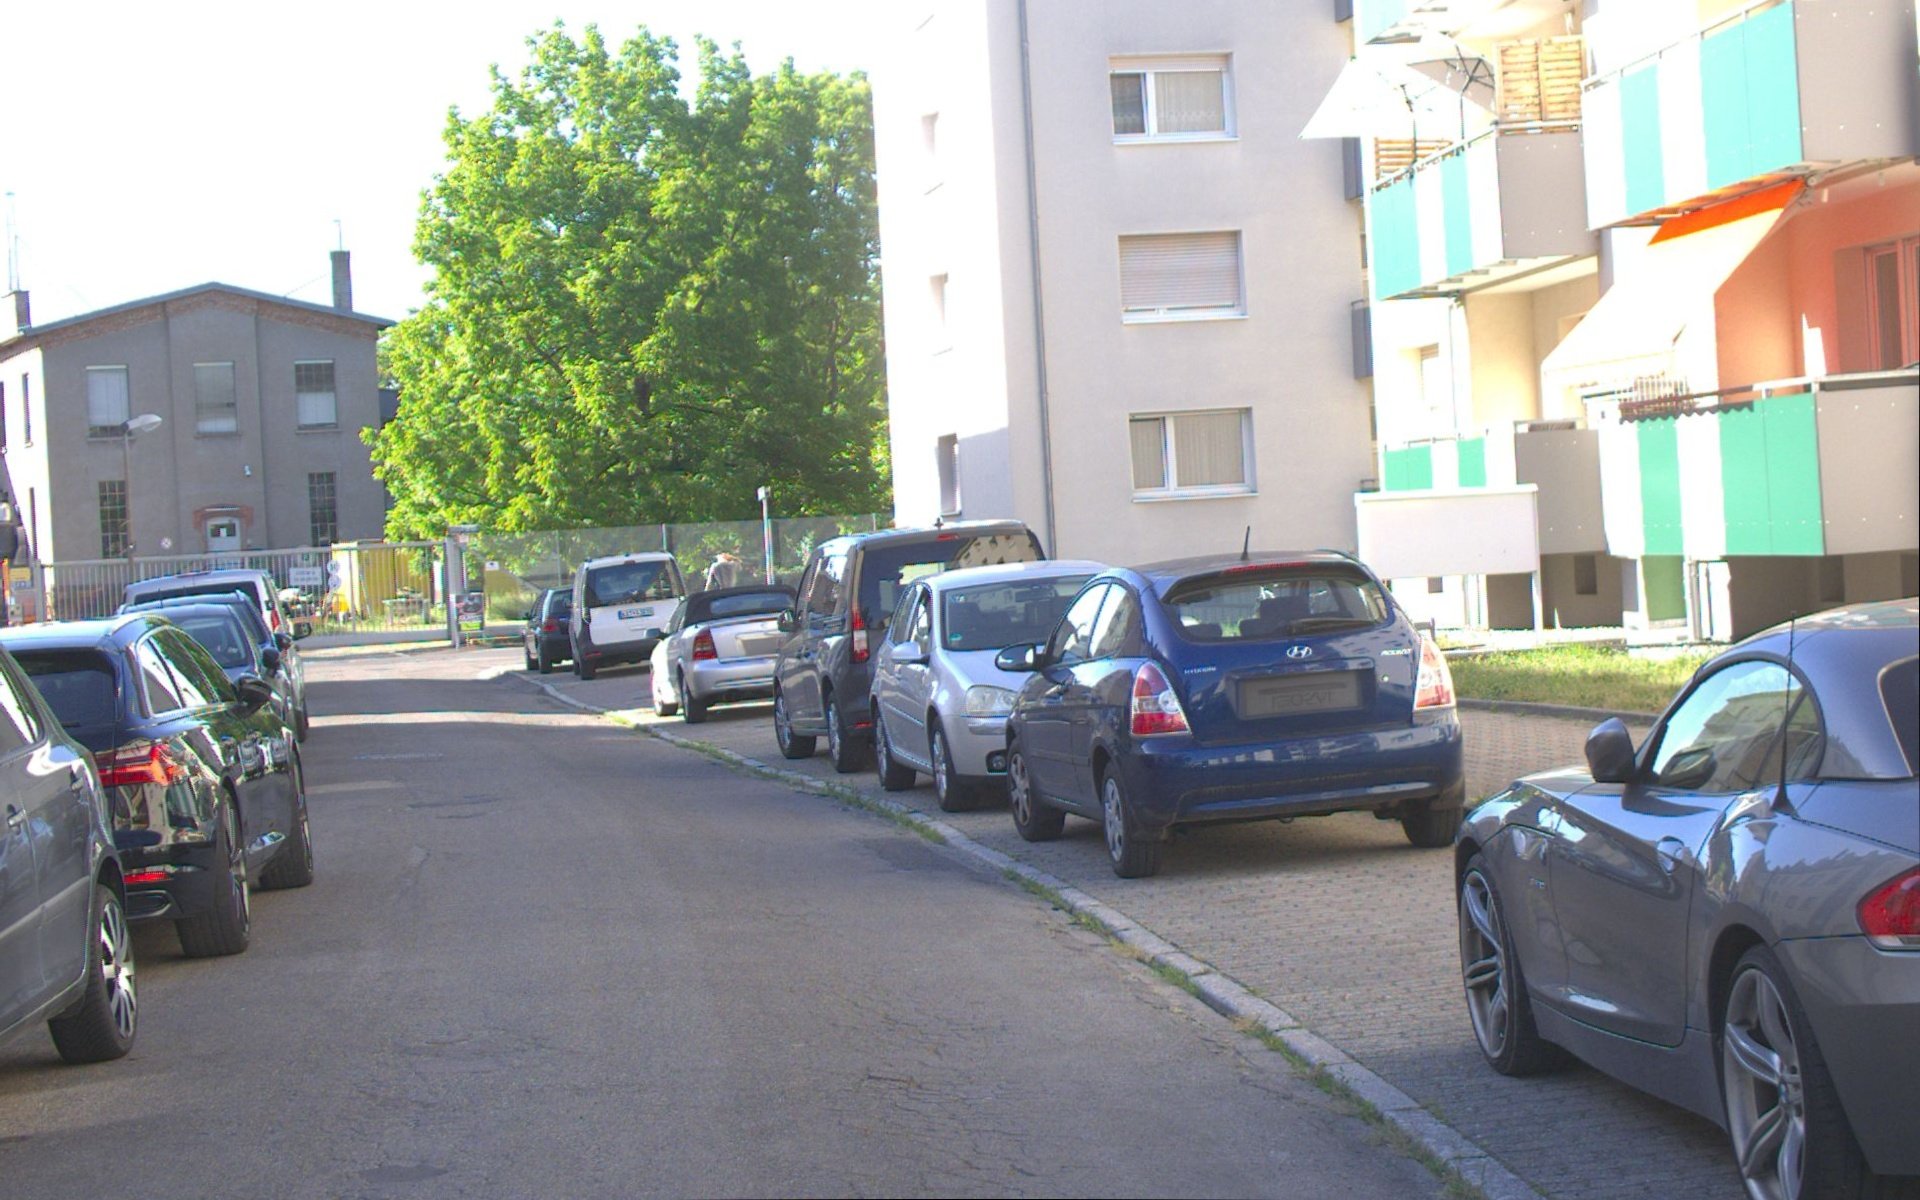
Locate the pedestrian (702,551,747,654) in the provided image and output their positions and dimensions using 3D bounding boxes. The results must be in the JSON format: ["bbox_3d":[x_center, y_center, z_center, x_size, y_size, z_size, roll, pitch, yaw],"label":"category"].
[{"bbox_3d":[-4.244,0.046,61.992,0.654,1.809,0.614,-4,0,-1],"label":"pedestrian"}]

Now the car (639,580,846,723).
[{"bbox_3d":[-2.438,0.551,37.704,1.717,1.359,4.055,-4,0,-10],"label":"car"}]

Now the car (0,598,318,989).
[{"bbox_3d":[-4.015,0.782,15.377,1.743,1.426,4.599,-5,0,-6],"label":"car"}]

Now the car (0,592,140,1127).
[{"bbox_3d":[-3.453,0.791,9.603,1.478,1.472,3.632,-6,0,-3],"label":"car"}]

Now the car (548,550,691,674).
[{"bbox_3d":[-5.355,0.187,53.672,1.765,1.733,4.095,-4,0,-10],"label":"car"}]

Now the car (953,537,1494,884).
[{"bbox_3d":[1.194,0.502,17.661,1.737,1.427,4.357,-5,0,-8],"label":"car"}]

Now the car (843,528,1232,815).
[{"bbox_3d":[0.396,0.416,22.247,1.681,1.582,4.013,-4,1,-10],"label":"car"}]

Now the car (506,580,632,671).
[{"bbox_3d":[-6.721,0.436,58.738,1.765,1.357,4.095,-4,0,-10],"label":"car"}]

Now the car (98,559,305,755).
[{"bbox_3d":[-7.917,0.592,36.176,1.896,1.849,4.196,-3,0,-11],"label":"car"}]

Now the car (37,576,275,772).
[{"bbox_3d":[-7.153,0.638,30.900,1.832,1.510,4.001,-4,0,-11],"label":"car"}]

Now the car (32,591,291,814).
[{"bbox_3d":[-5.982,0.734,26.094,1.658,1.438,3.872,-4,0,-11],"label":"car"}]

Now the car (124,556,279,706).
[{"bbox_3d":[-11.332,0.459,51.590,1.993,2.007,4.455,-4,0,-11],"label":"car"}]

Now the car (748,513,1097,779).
[{"bbox_3d":[-0.397,0.366,27.359,1.896,1.849,4.344,-3,0,-12],"label":"car"}]

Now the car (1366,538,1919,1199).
[{"bbox_3d":[2.305,0.575,8.339,1.685,1.358,4.240,-5,1,-5],"label":"car"}]
